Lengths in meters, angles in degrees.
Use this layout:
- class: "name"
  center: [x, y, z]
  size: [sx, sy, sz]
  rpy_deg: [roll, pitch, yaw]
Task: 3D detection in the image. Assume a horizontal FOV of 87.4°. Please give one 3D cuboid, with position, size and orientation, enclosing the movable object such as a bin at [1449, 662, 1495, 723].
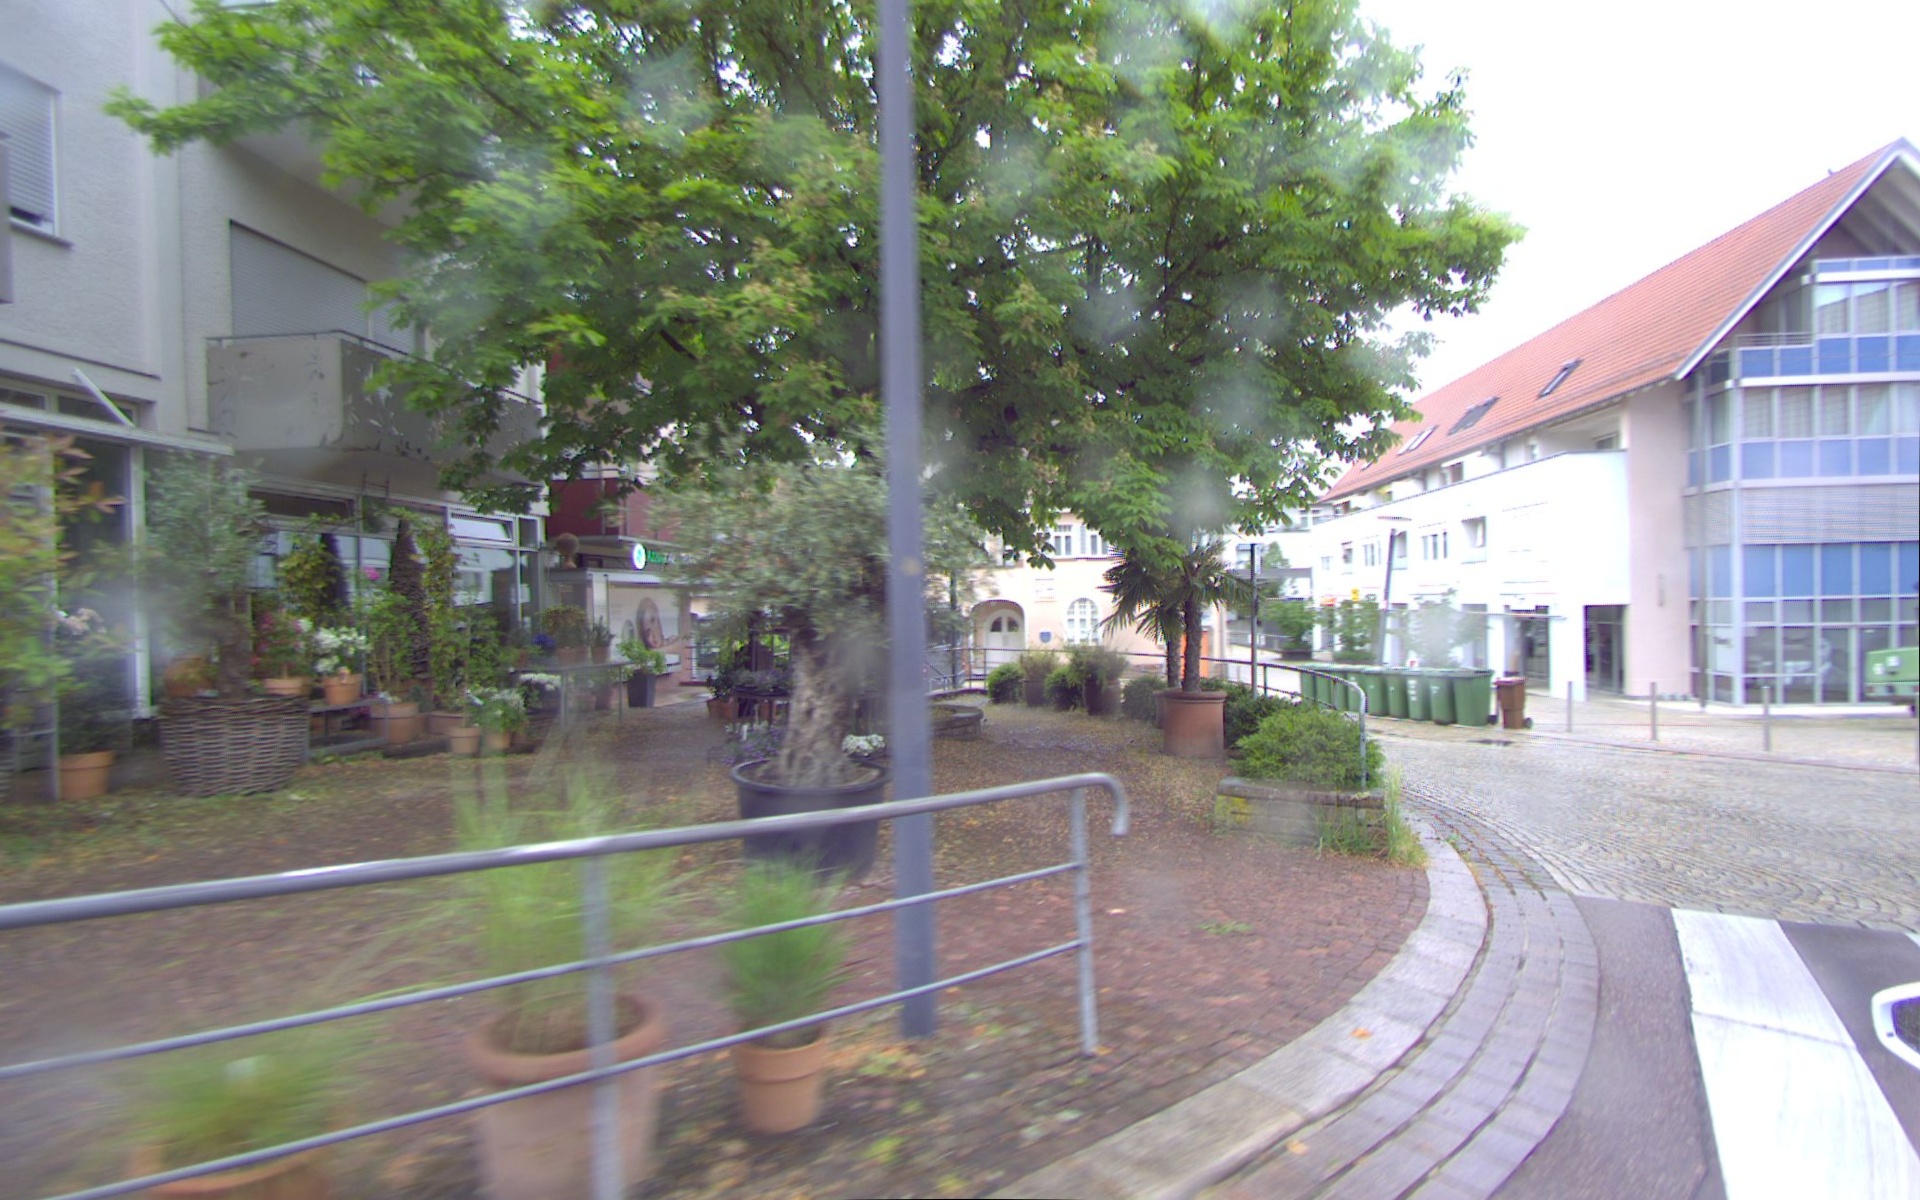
- class: "movable object such as a bin"
  center: [9.969, 1.797, 19.566]
  size: [0.552, 1.141, 0.549]
  rpy_deg: [0, -2, -13]

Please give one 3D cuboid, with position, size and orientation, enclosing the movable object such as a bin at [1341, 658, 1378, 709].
- class: "movable object such as a bin"
  center: [9.285, 1.934, 23.341]
  size: [0.552, 1.141, 0.549]
  rpy_deg: [0, -2, -13]

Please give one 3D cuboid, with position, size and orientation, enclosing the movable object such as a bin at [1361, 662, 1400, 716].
- class: "movable object such as a bin"
  center: [9.261, 1.949, 22.143]
  size: [0.552, 1.141, 0.549]
  rpy_deg: [0, -2, -13]

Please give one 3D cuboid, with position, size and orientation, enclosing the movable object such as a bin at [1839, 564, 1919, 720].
- class: "movable object such as a bin"
  center: [17.996, 0.699, 16.996]
  size: [4.206, 2.588, 1.912]
  rpy_deg: [-1, -3, 18]

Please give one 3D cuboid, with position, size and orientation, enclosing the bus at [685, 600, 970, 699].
- class: "bus"
  center: [-4.793, 1.646, 34.694]
  size: [10.376, 3.030, 2.781]
  rpy_deg: [-2, 0, 33]

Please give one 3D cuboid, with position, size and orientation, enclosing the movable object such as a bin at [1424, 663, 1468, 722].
- class: "movable object such as a bin"
  center: [9.725, 1.843, 20.119]
  size: [0.552, 1.141, 0.549]
  rpy_deg: [0, -2, -13]

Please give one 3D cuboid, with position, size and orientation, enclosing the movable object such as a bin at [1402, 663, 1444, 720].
- class: "movable object such as a bin"
  center: [9.595, 1.888, 20.838]
  size: [0.552, 1.141, 0.540]
  rpy_deg: [0, -2, -13]

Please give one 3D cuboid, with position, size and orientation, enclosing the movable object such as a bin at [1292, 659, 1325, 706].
- class: "movable object such as a bin"
  center: [8.705, 2.045, 25.073]
  size: [0.531, 1.141, 0.537]
  rpy_deg: [0, -2, -23]

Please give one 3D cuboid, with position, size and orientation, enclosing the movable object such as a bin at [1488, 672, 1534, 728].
- class: "movable object such as a bin"
  center: [10.292, 1.856, 18.772]
  size: [0.553, 1.004, 0.496]
  rpy_deg: [0, -2, -22]

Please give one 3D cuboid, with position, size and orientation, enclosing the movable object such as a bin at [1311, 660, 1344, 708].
- class: "movable object such as a bin"
  center: [8.957, 2.046, 24.498]
  size: [0.529, 1.141, 0.538]
  rpy_deg: [0, -2, -13]

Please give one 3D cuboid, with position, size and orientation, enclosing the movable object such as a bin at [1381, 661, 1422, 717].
- class: "movable object such as a bin"
  center: [9.428, 1.891, 21.455]
  size: [0.552, 1.175, 0.549]
  rpy_deg: [0, -2, -13]

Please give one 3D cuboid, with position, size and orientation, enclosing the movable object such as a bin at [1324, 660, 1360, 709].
- class: "movable object such as a bin"
  center: [9.099, 2.010, 23.926]
  size: [0.552, 1.141, 0.549]
  rpy_deg: [0, -2, -13]
